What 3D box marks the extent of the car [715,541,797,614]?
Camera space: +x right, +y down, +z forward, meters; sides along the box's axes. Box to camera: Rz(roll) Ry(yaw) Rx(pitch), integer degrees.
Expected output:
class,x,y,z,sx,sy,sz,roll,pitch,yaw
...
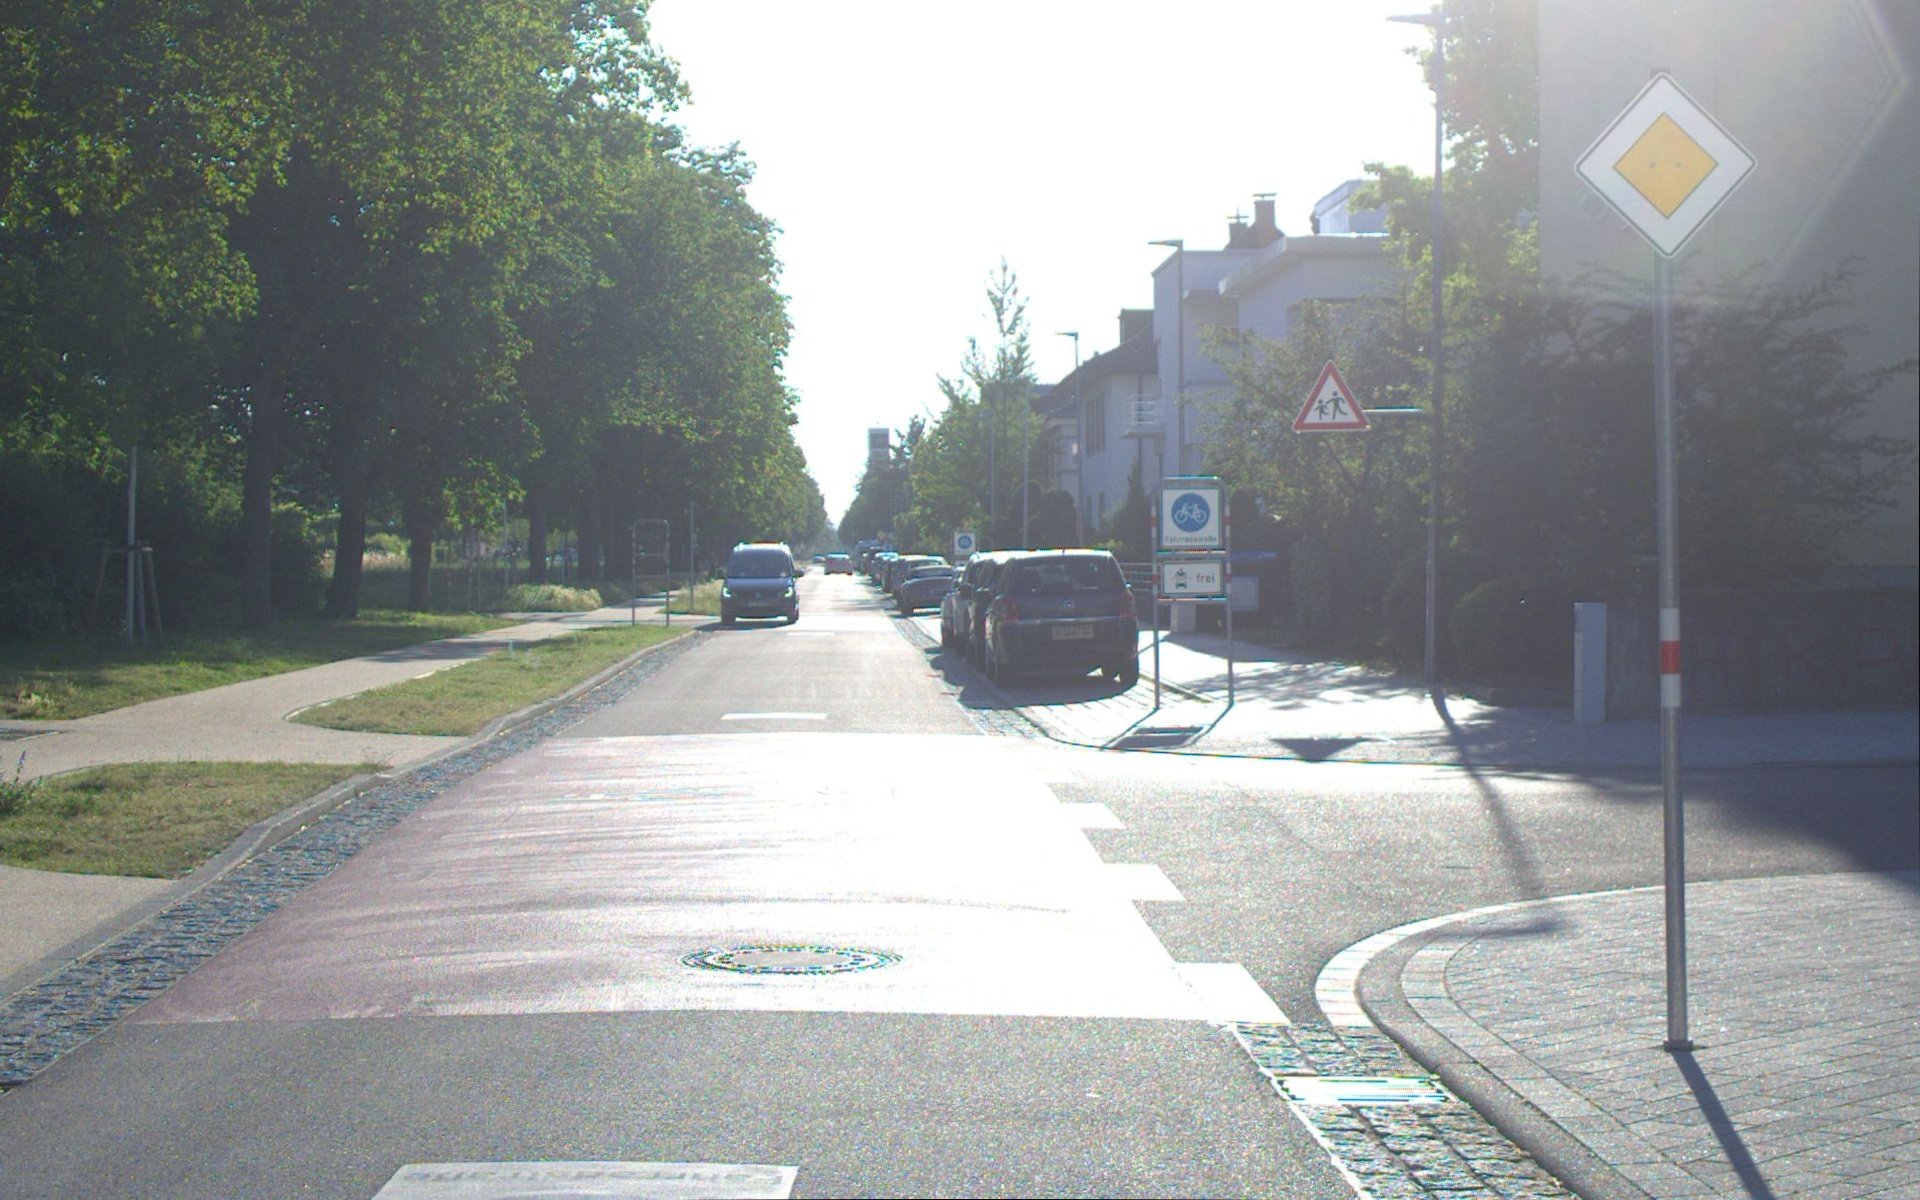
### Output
class,x,y,z,sx,sy,sz,roll,pitch,yaw
car,-4.803,-0.542,81.312,1.825,1.663,4.250,-1,0,-2

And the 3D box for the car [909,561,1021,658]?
class,x,y,z,sx,sy,sz,roll,pitch,yaw
car,0.117,0.149,63.312,1.993,1.711,4.000,-1,0,1

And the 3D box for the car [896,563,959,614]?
class,x,y,z,sx,sy,sz,roll,pitch,yaw
car,-0.934,-0.330,96.333,1.626,1.405,4.250,-1,0,-2

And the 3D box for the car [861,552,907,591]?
class,x,y,z,sx,sy,sz,roll,pitch,yaw
car,-2.825,-1.046,127.578,1.626,1.405,4.250,-1,0,-2

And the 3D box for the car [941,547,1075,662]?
class,x,y,z,sx,sy,sz,roll,pitch,yaw
car,0.752,0.050,53.747,1.993,1.711,4.000,-1,0,1

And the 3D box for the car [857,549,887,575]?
class,x,y,z,sx,sy,sz,roll,pitch,yaw
car,-5.010,-2.157,196.062,1.626,1.405,4.250,-1,0,-2

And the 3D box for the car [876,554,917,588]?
class,x,y,z,sx,sy,sz,roll,pitch,yaw
car,-2.658,-1.213,143.998,1.626,1.405,4.250,-1,0,-2

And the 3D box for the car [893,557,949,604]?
class,x,y,z,sx,sy,sz,roll,pitch,yaw
car,-1.247,-0.616,107.757,1.626,1.405,4.250,-1,0,-2

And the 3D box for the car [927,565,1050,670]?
class,x,y,z,sx,sy,sz,roll,pitch,yaw
car,0.499,0.279,58.596,1.993,1.711,4.000,-1,0,1

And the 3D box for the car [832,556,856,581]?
class,x,y,z,sx,sy,sz,roll,pitch,yaw
car,-8.116,-2.194,239.866,1.626,1.663,4.250,-1,0,-2

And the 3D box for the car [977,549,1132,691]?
class,x,y,z,sx,sy,sz,roll,pitch,yaw
car,1.127,0.218,42.676,1.626,1.663,4.250,-1,0,-2
